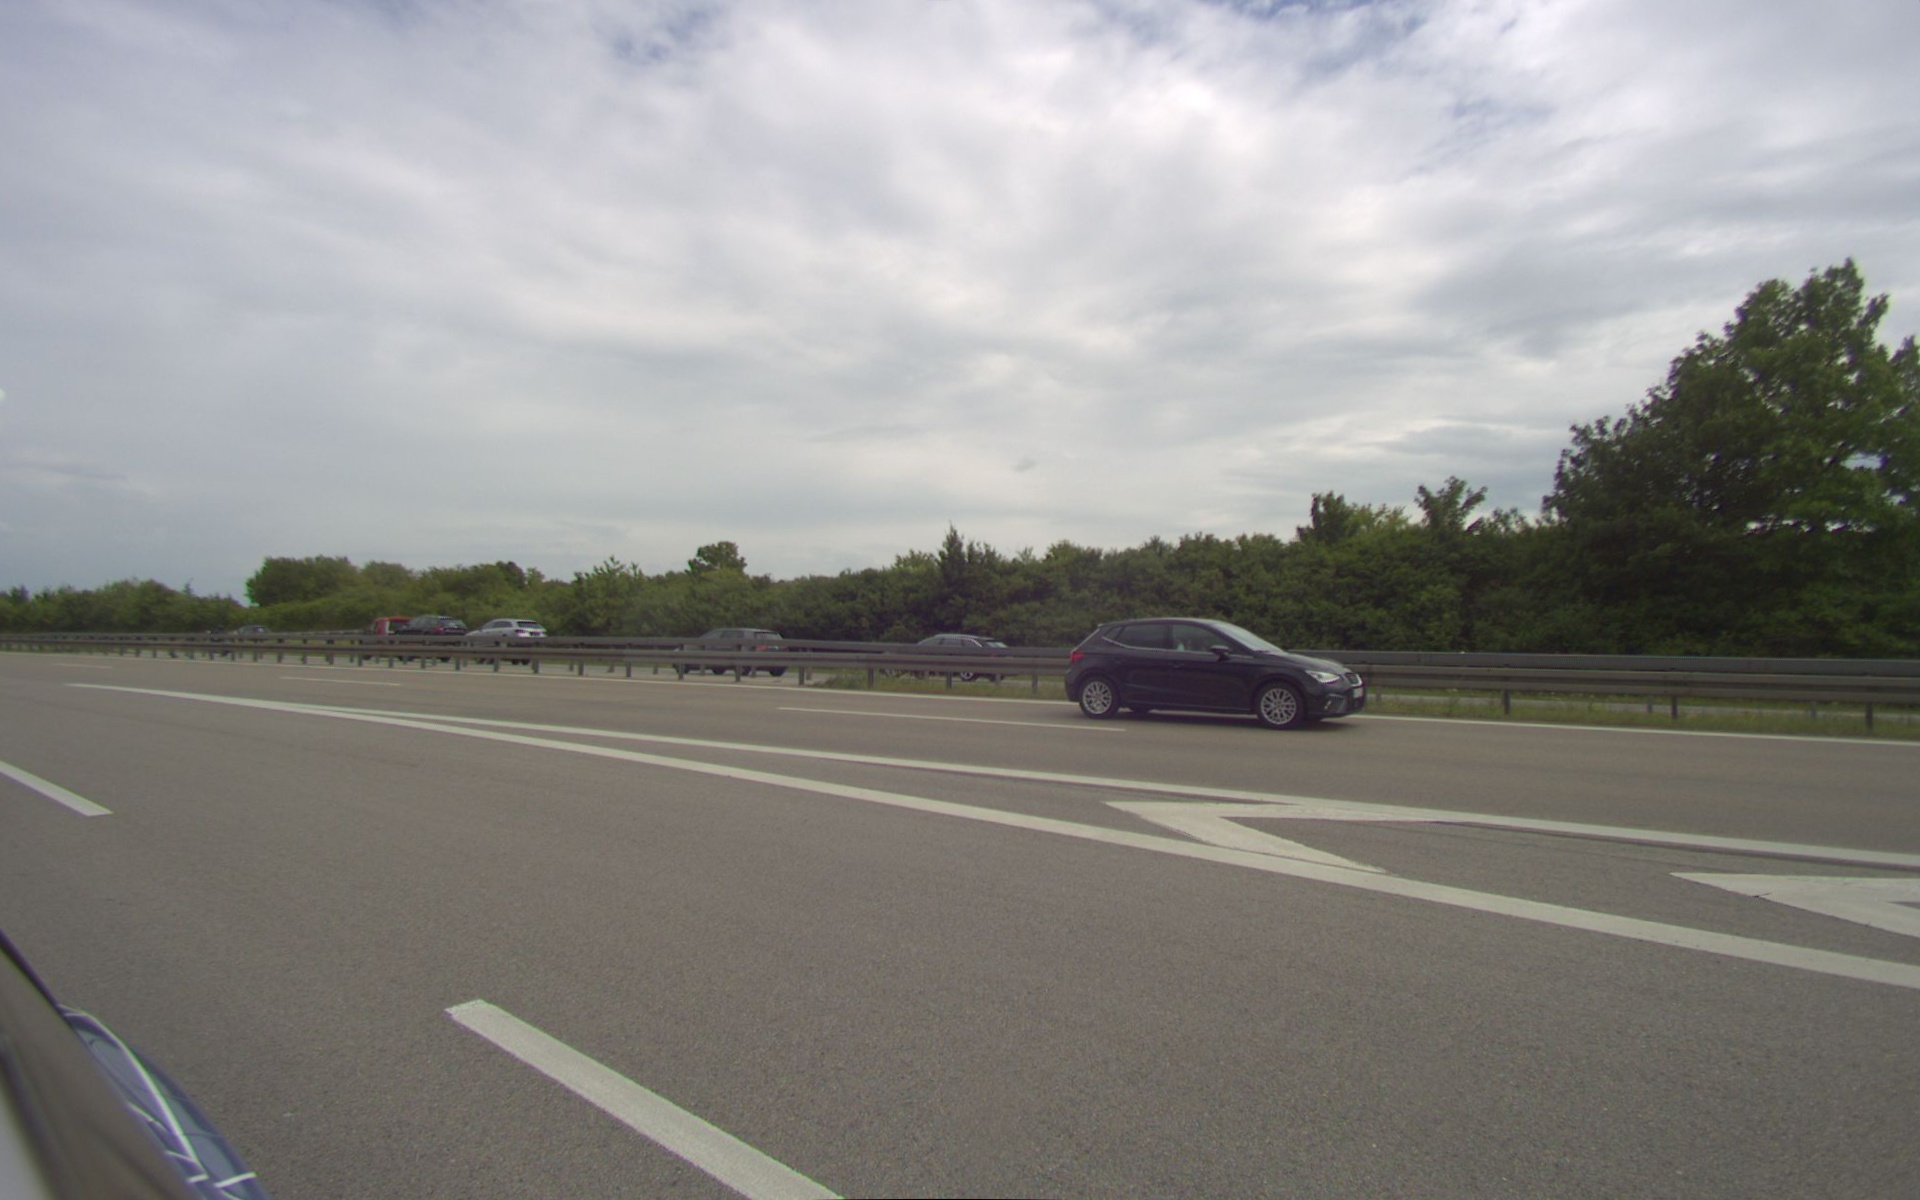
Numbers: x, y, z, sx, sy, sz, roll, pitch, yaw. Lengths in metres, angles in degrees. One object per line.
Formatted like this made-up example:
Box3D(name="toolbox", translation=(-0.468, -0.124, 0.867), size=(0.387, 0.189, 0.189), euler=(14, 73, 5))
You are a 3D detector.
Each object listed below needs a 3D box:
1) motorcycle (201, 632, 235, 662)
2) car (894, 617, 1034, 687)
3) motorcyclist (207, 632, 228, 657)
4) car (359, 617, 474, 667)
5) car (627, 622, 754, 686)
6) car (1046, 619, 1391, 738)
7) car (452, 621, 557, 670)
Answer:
Box3D(name="motorcycle", translation=(-38.339, 2.411, 52.267), size=(2.389, 1.455, 0.652), euler=(-1, 0, 35))
Box3D(name="car", translation=(0.119, 1.576, 31.939), size=(3.988, 2.029, 1.978), euler=(-1, 0, 33))
Box3D(name="motorcyclist", translation=(-38.372, 2.289, 52.296), size=(0.821, 1.262, 0.652), euler=(-1, 0, 34))
Box3D(name="car", translation=(-26.948, 2.054, 50.072), size=(6.658, 2.348, 2.145), euler=(-1, -2, 34))
Box3D(name="car", translation=(-9.006, 1.747, 33.723), size=(3.989, 2.029, 1.977), euler=(-1, -2, 33))
Box3D(name="car", translation=(3.475, 0.988, 13.985), size=(4.297, 1.409, 1.764), euler=(-1, -2, 36))
Box3D(name="car", translation=(-20.800, 2.036, 46.192), size=(4.861, 2.149, 2.145), euler=(-1, -2, 34))
